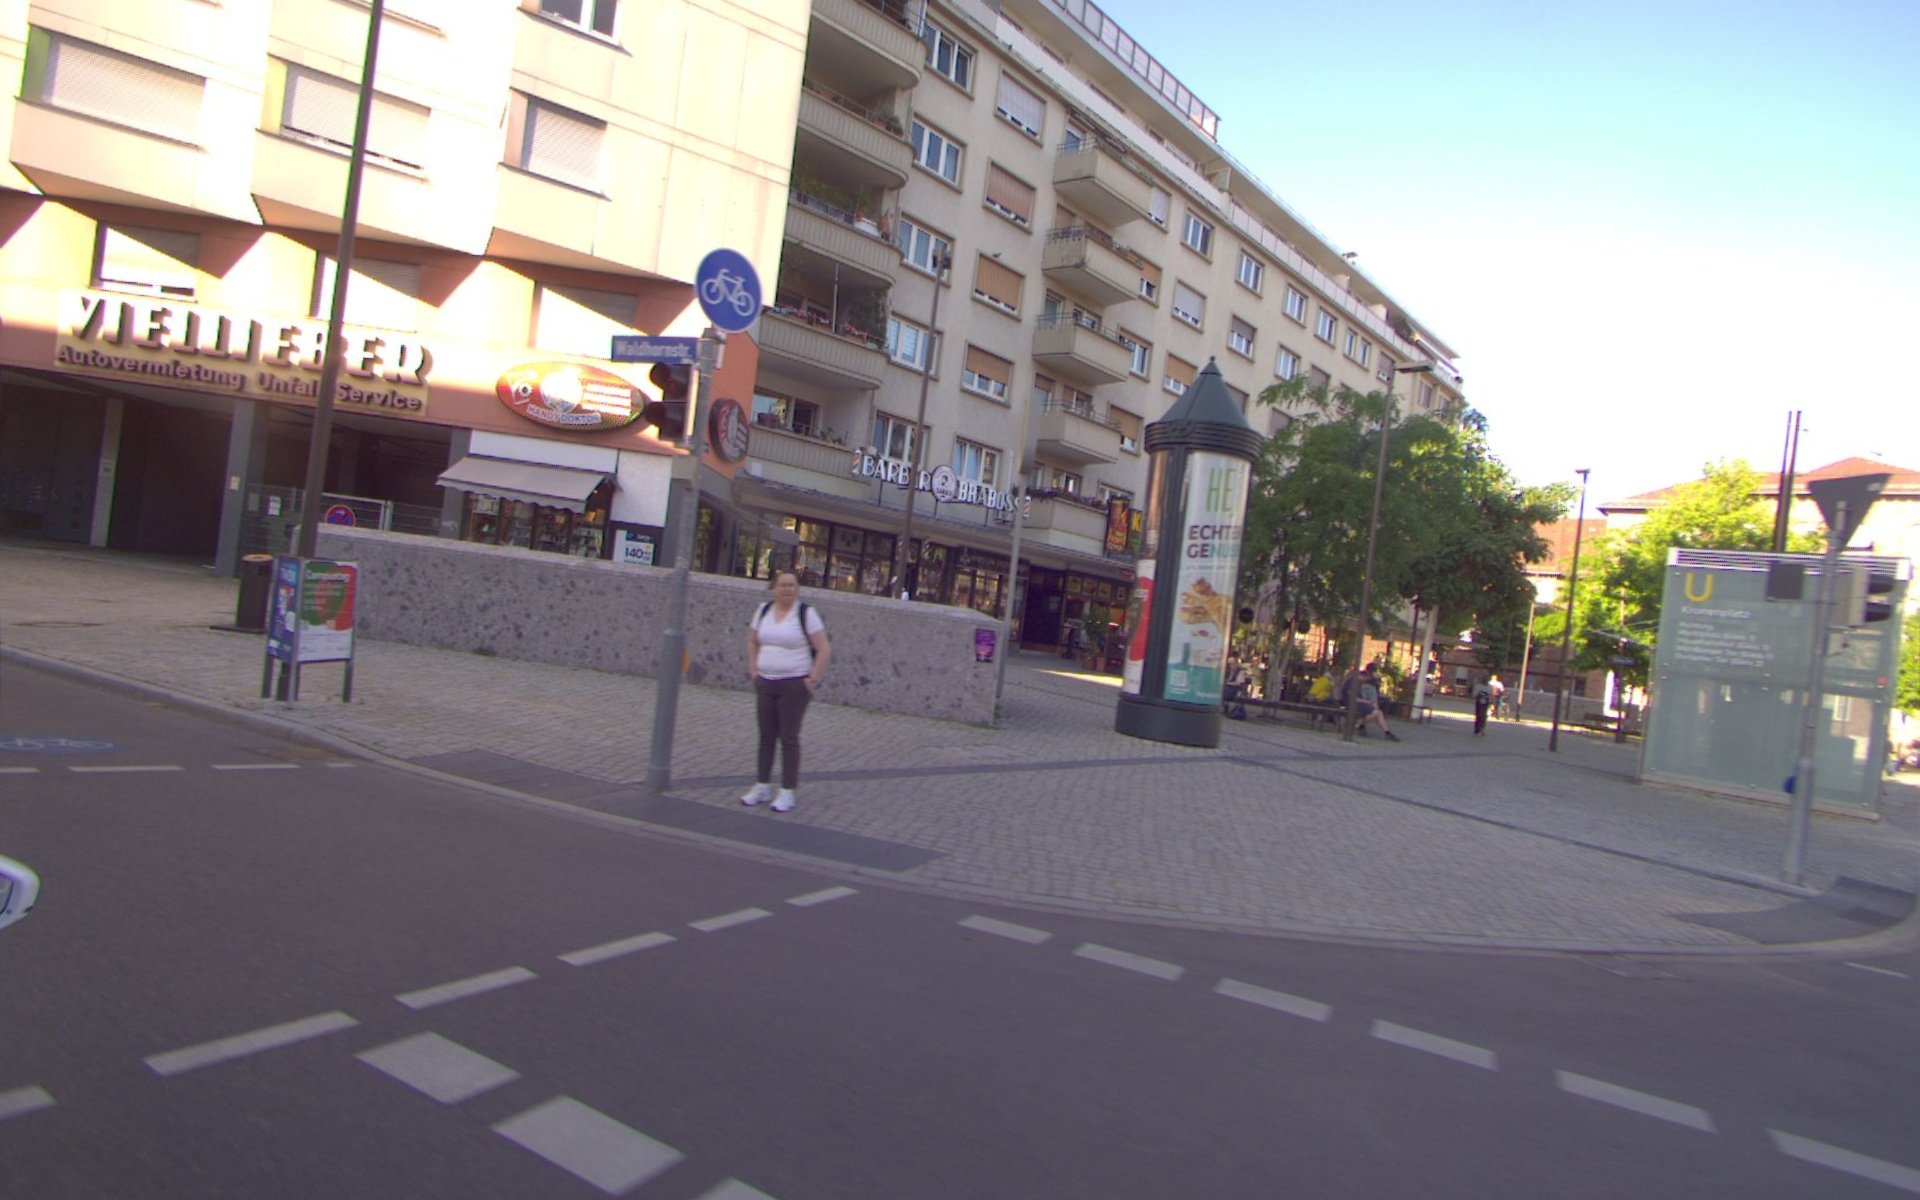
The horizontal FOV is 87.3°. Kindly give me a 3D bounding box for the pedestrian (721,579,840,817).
[{"bbox_3d":[-1.292,0.696,7.322,0.547,1.602,0.541,8,0,2],"label":"pedestrian"}]

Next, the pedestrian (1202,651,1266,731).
[{"bbox_3d":[5.556,1.830,20.439,0.710,1.437,0.926,8,0,-14],"label":"pedestrian"}]

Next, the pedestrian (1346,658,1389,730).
[{"bbox_3d":[10.660,2.468,26.322,0.706,1.767,0.681,8,0,34],"label":"pedestrian"}]

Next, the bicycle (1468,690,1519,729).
[{"bbox_3d":[21.690,4.424,40.960,0.883,1.267,2.215,8,0,5],"label":"bicycle"}]

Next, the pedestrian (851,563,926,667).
[{"bbox_3d":[-1.401,0.291,19.772,1.039,1.889,0.679,8,0,-43],"label":"pedestrian"}]

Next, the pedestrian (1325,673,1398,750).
[{"bbox_3d":[8.329,2.309,20.886,1.091,1.381,0.719,9,0,36],"label":"pedestrian"}]

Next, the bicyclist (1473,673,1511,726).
[{"bbox_3d":[21.757,4.060,41.132,0.883,1.973,0.787,8,1,5],"label":"bicyclist"}]

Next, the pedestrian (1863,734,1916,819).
[{"bbox_3d":[20.047,3.789,21.710,0.625,1.691,0.751,8,0,39],"label":"pedestrian"}]

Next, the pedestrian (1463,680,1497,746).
[{"bbox_3d":[14.052,3.049,27.196,0.473,1.691,0.500,7,1,-43],"label":"pedestrian"}]

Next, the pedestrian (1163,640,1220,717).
[{"bbox_3d":[4.902,1.656,21.334,0.709,1.463,0.928,8,0,-8],"label":"pedestrian"}]
